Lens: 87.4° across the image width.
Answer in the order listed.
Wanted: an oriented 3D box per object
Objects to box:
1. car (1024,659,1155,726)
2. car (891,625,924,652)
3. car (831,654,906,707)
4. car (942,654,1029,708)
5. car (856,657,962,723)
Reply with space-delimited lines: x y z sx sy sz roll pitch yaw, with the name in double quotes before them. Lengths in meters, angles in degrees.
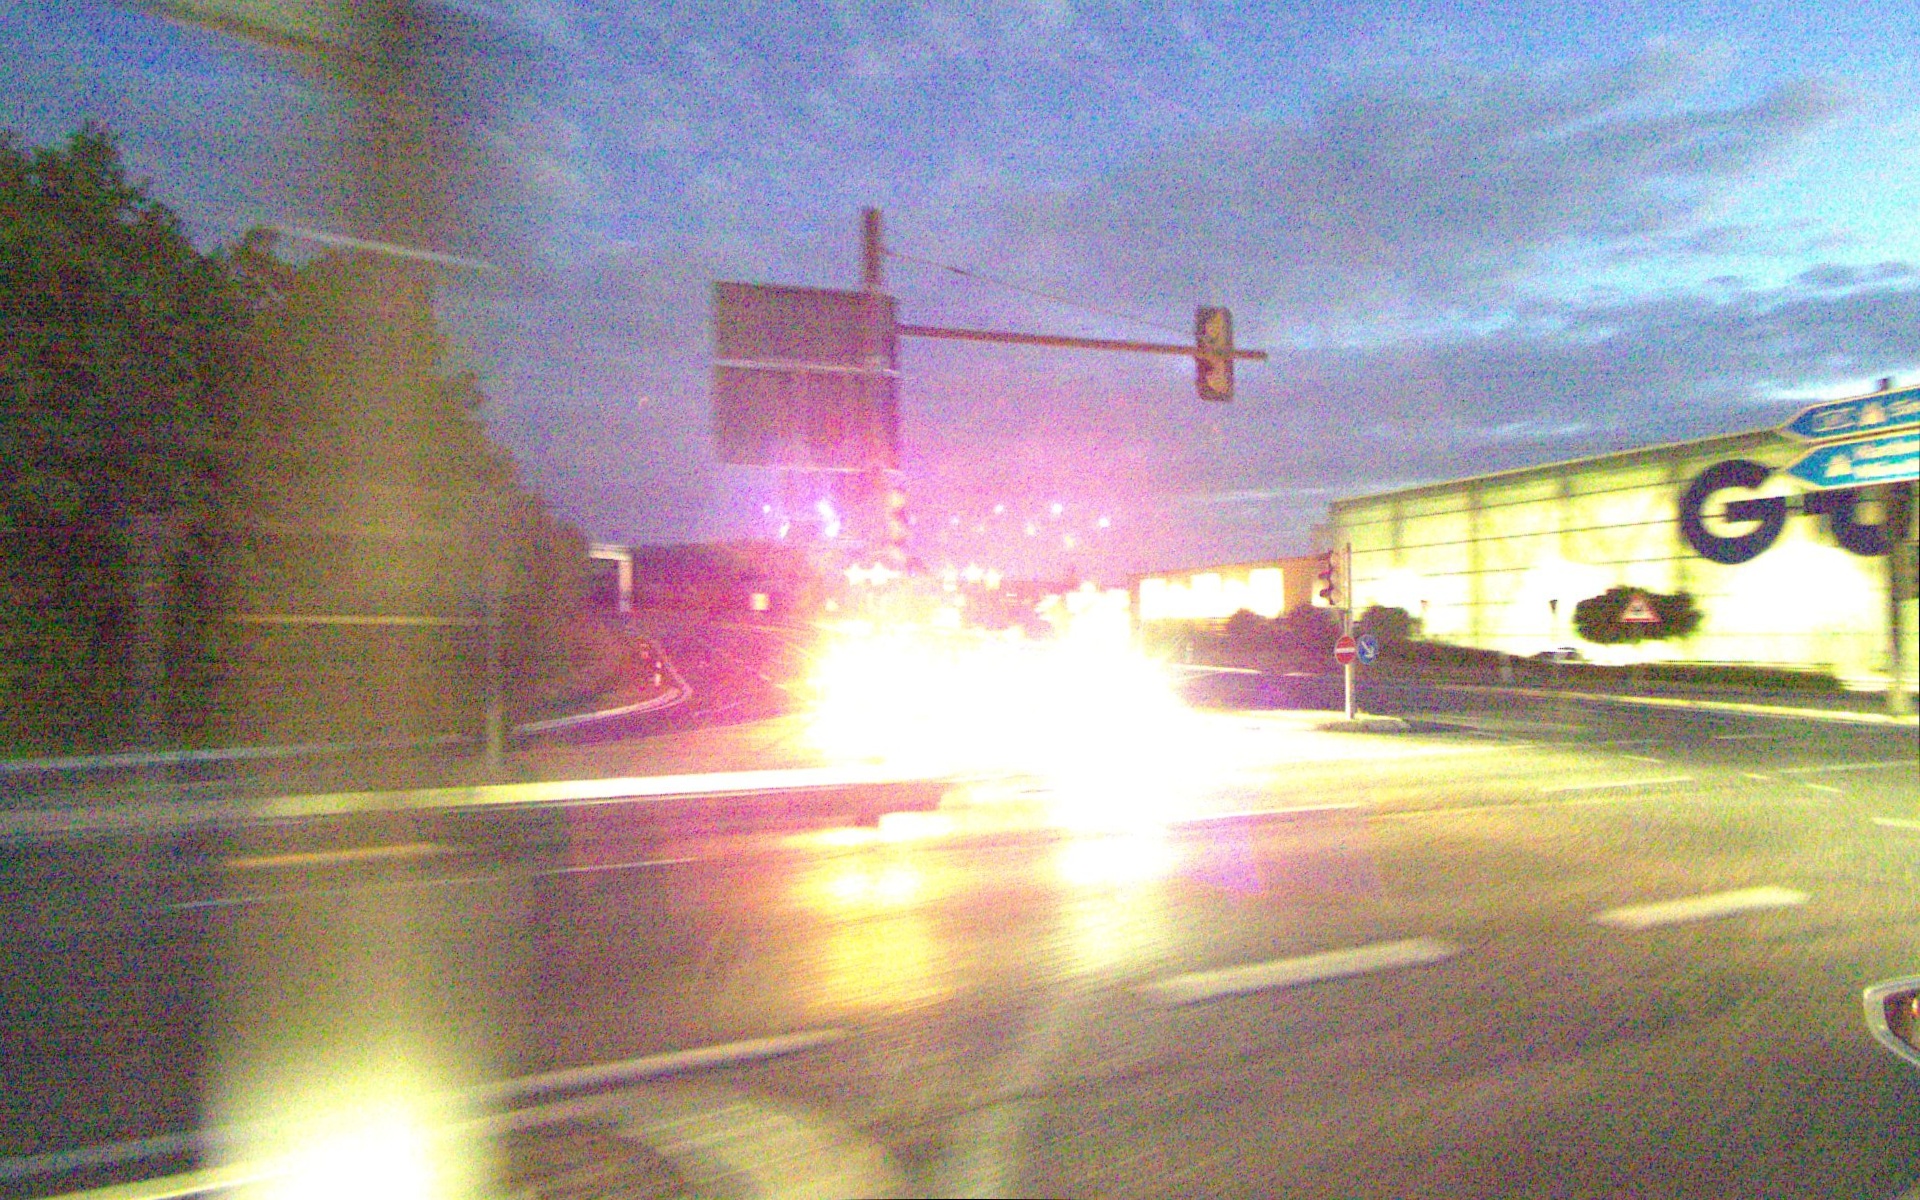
"car" 3.066 2.205 24.550 1.678 1.493 3.856 2 -4 -18
"car" -4.180 3.007 79.213 1.965 2.040 3.991 1 -1 -12
"car" -2.987 2.507 32.086 1.661 1.479 3.800 0 -2 -17
"car" 0.748 2.546 32.268 1.688 1.463 3.971 0 -1 -17
"car" -1.365 2.203 25.284 1.731 1.479 3.987 2 -3 -17
